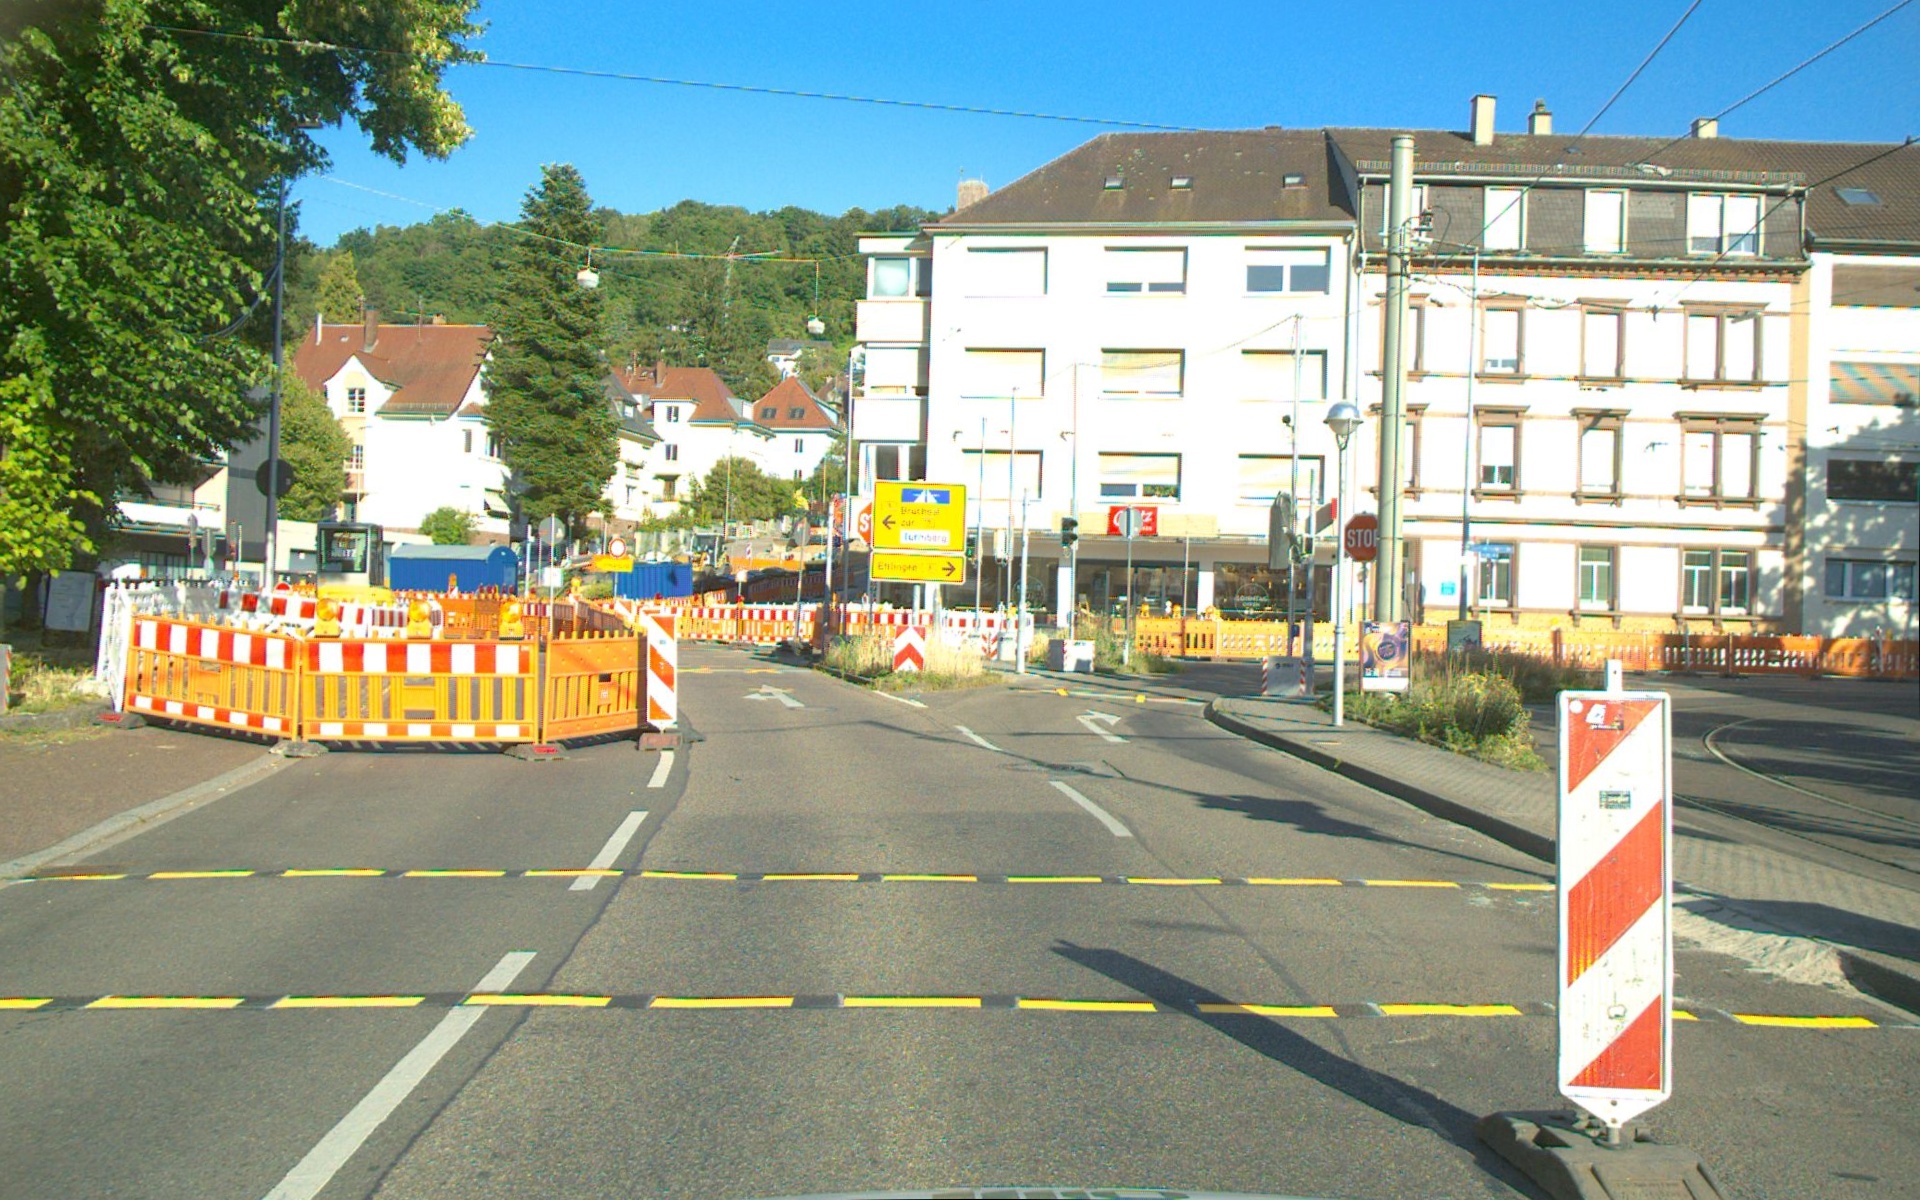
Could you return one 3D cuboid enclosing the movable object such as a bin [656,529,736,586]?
[{"bbox_3d":[-12.530,-2.008,78.786,1.907,2.538,4.554,1,0,17],"label":"movable object such as a bin"}]

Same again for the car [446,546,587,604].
[{"bbox_3d":[-17.545,-0.947,65.893,2.529,2.158,6.154,1,0,17],"label":"car"}]

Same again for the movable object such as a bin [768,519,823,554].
[{"bbox_3d":[-11.371,-4.397,114.736,2.510,2.159,5.789,1,0,8],"label":"movable object such as a bin"}]

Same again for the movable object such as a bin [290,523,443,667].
[{"bbox_3d":[-10.433,-0.097,29.338,1.615,2.365,3.916,1,0,-6],"label":"movable object such as a bin"}]
